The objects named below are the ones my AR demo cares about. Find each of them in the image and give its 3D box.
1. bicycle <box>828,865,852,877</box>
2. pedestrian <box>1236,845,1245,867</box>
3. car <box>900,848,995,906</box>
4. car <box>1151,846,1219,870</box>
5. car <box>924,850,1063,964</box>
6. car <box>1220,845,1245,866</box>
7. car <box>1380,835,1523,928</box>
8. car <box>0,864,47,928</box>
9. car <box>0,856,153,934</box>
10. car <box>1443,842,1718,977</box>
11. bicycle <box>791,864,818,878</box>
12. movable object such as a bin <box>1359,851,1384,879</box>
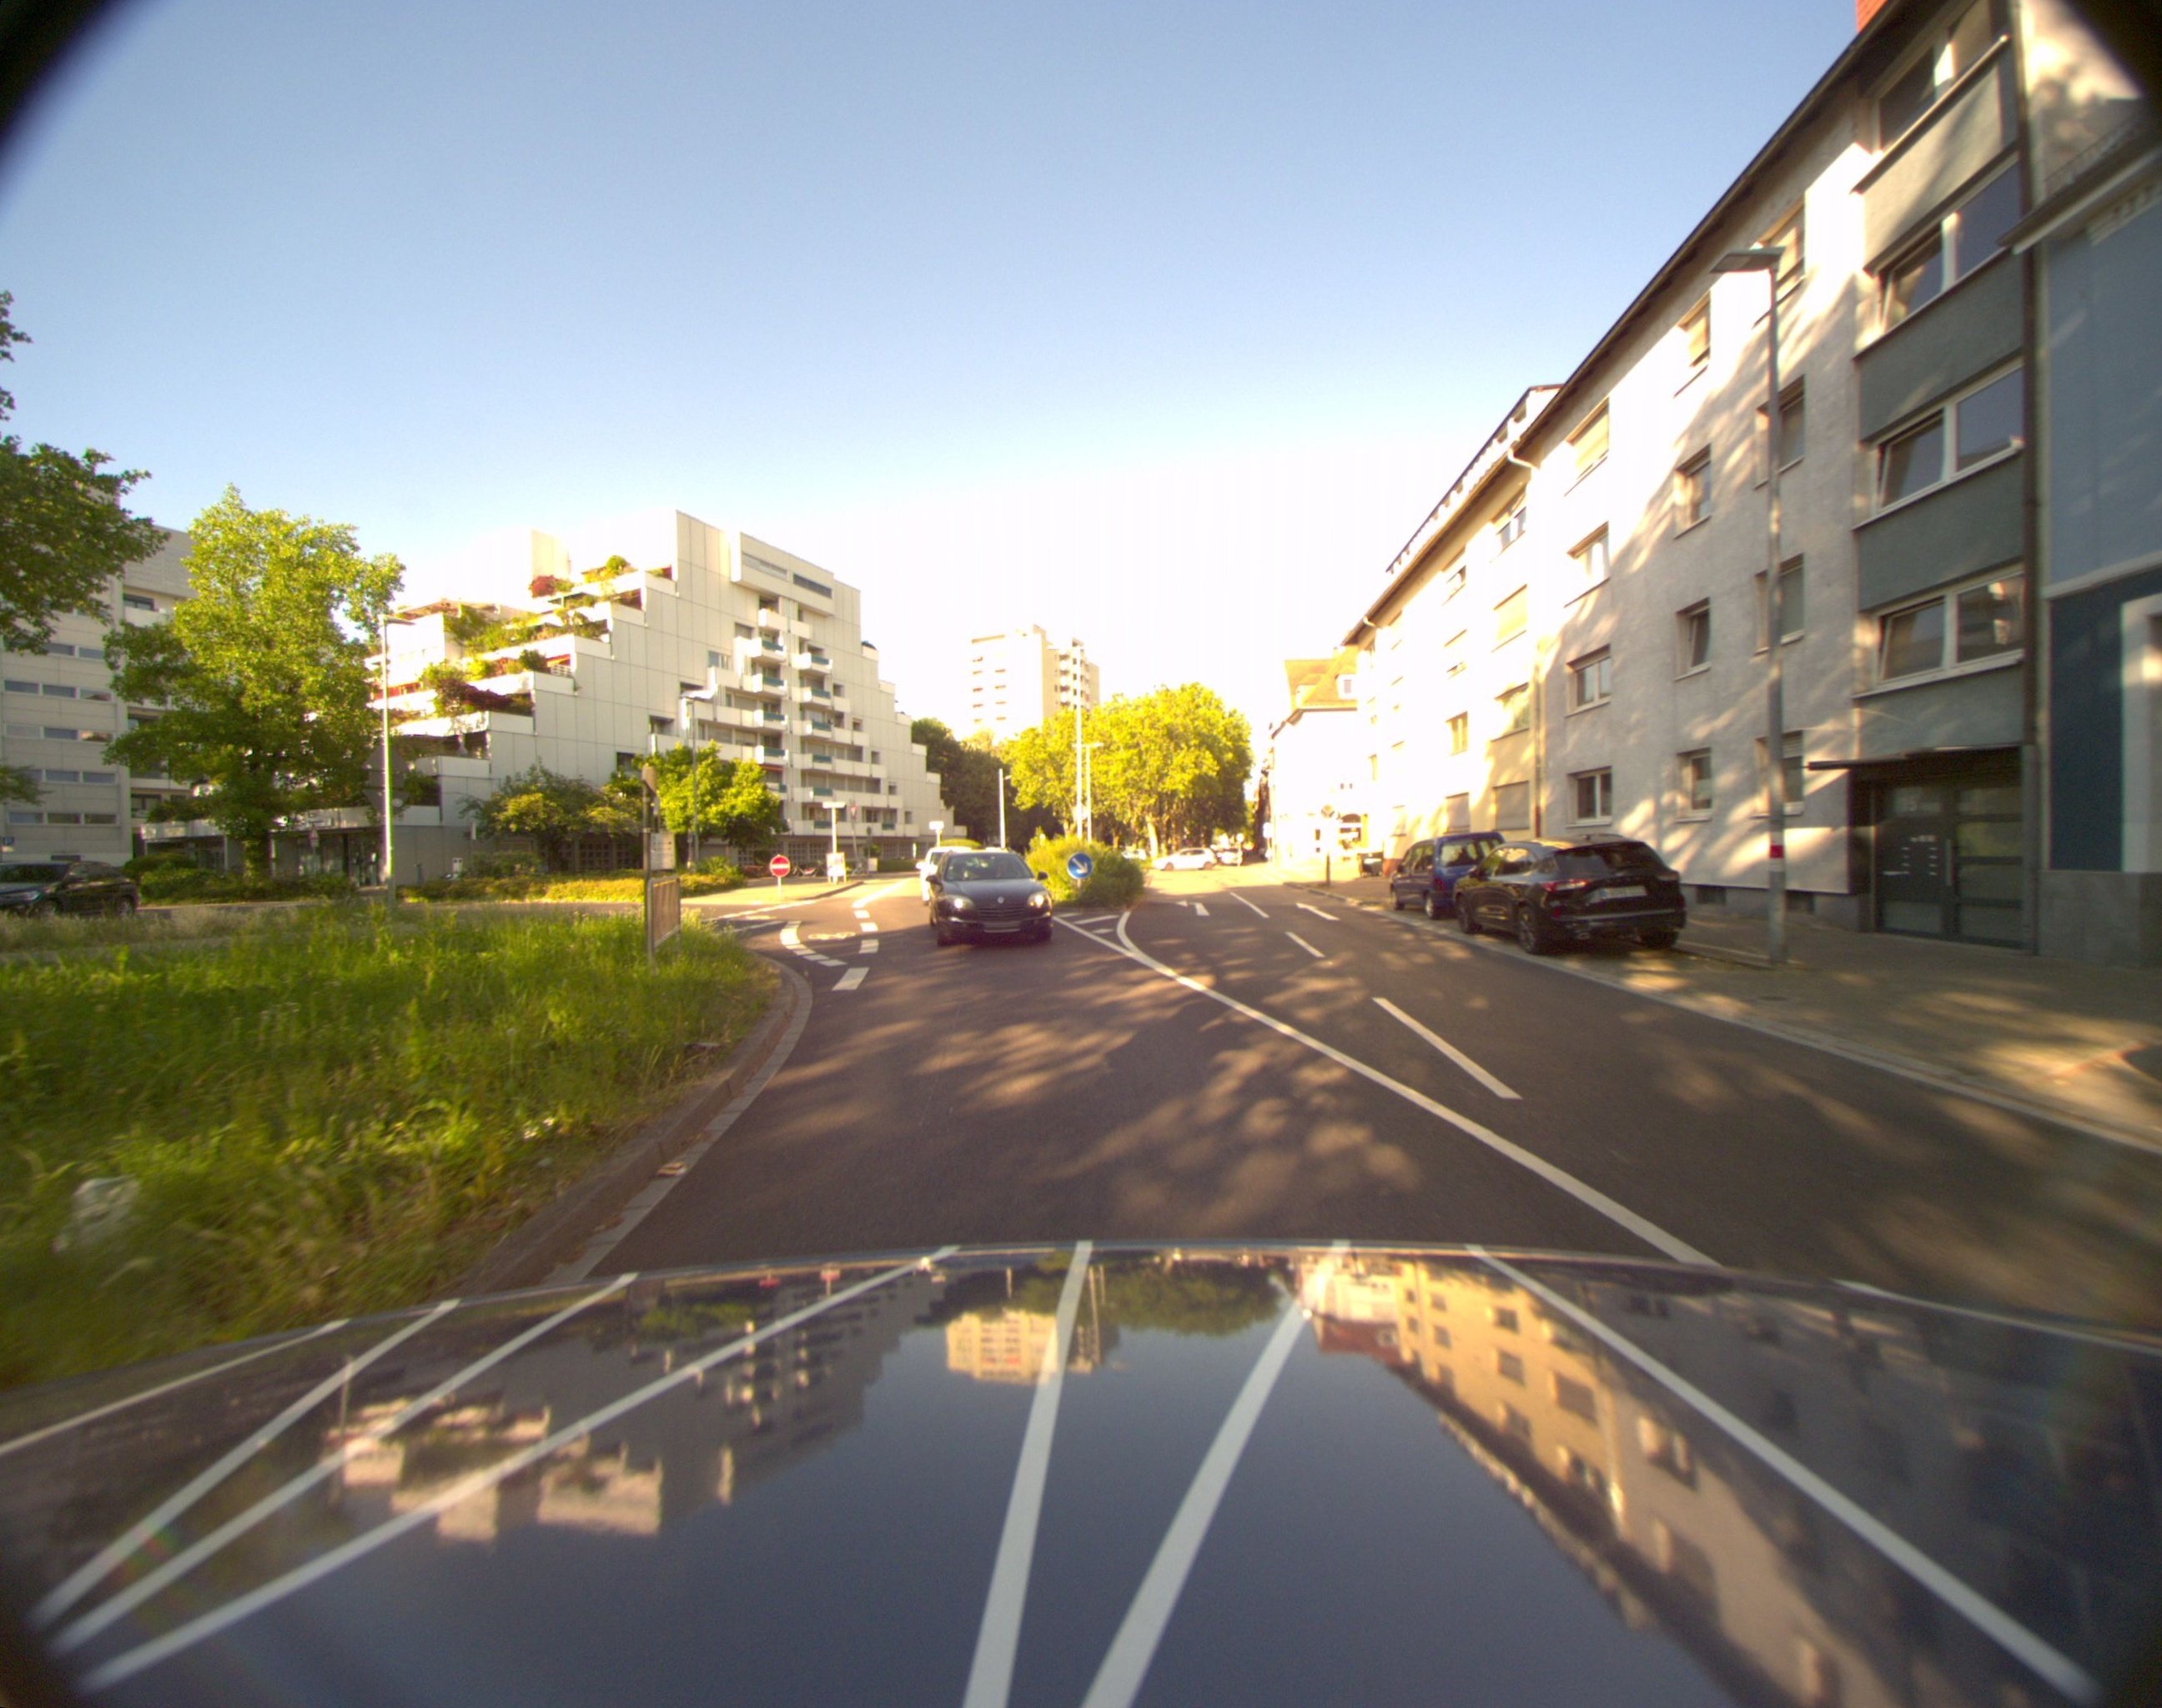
[{"bbox_3d":[-16.387,1.152,51.656,1.577,0.780,0.463,-1,1,-17],"label":"bicycle"},{"bbox_3d":[12.920,0.154,61.438,0.672,1.702,0.714,0,1,16],"label":"pedestrian"},{"bbox_3d":[-3.545,0.574,20.794,1.653,1.445,3.536,-1,1,6],"label":"car"},{"bbox_3d":[6.831,0.276,50.111,4.204,1.502,1.800,-1,1,-3],"label":"car"},{"bbox_3d":[-1.690,0.753,13.097,1.846,1.536,4.519,-3,0,-13],"label":"car"},{"bbox_3d":[13.299,0.093,66.737,1.897,1.782,4.002,0,1,7],"label":"car"},{"bbox_3d":[8.204,0.538,17.218,1.668,1.808,4.007,-2,0,8],"label":"car"},{"bbox_3d":[-27.062,0.991,17.707,1.831,1.577,4.360,1,-3,-29],"label":"car"},{"bbox_3d":[-24.367,0.923,17.699,1.941,1.649,4.469,1,-3,-29],"label":"car"},{"bbox_3d":[7.383,0.686,11.881,1.909,1.663,4.495,-2,0,10],"label":"car"},{"bbox_3d":[-18.269,1.118,50.211,0.463,0.833,1.704,0,1,41],"label":"bicycle"},{"bbox_3d":[13.598,0.514,35.586,1.033,1.278,1.063,0,1,17],"label":"movable object such as a bin"}]
